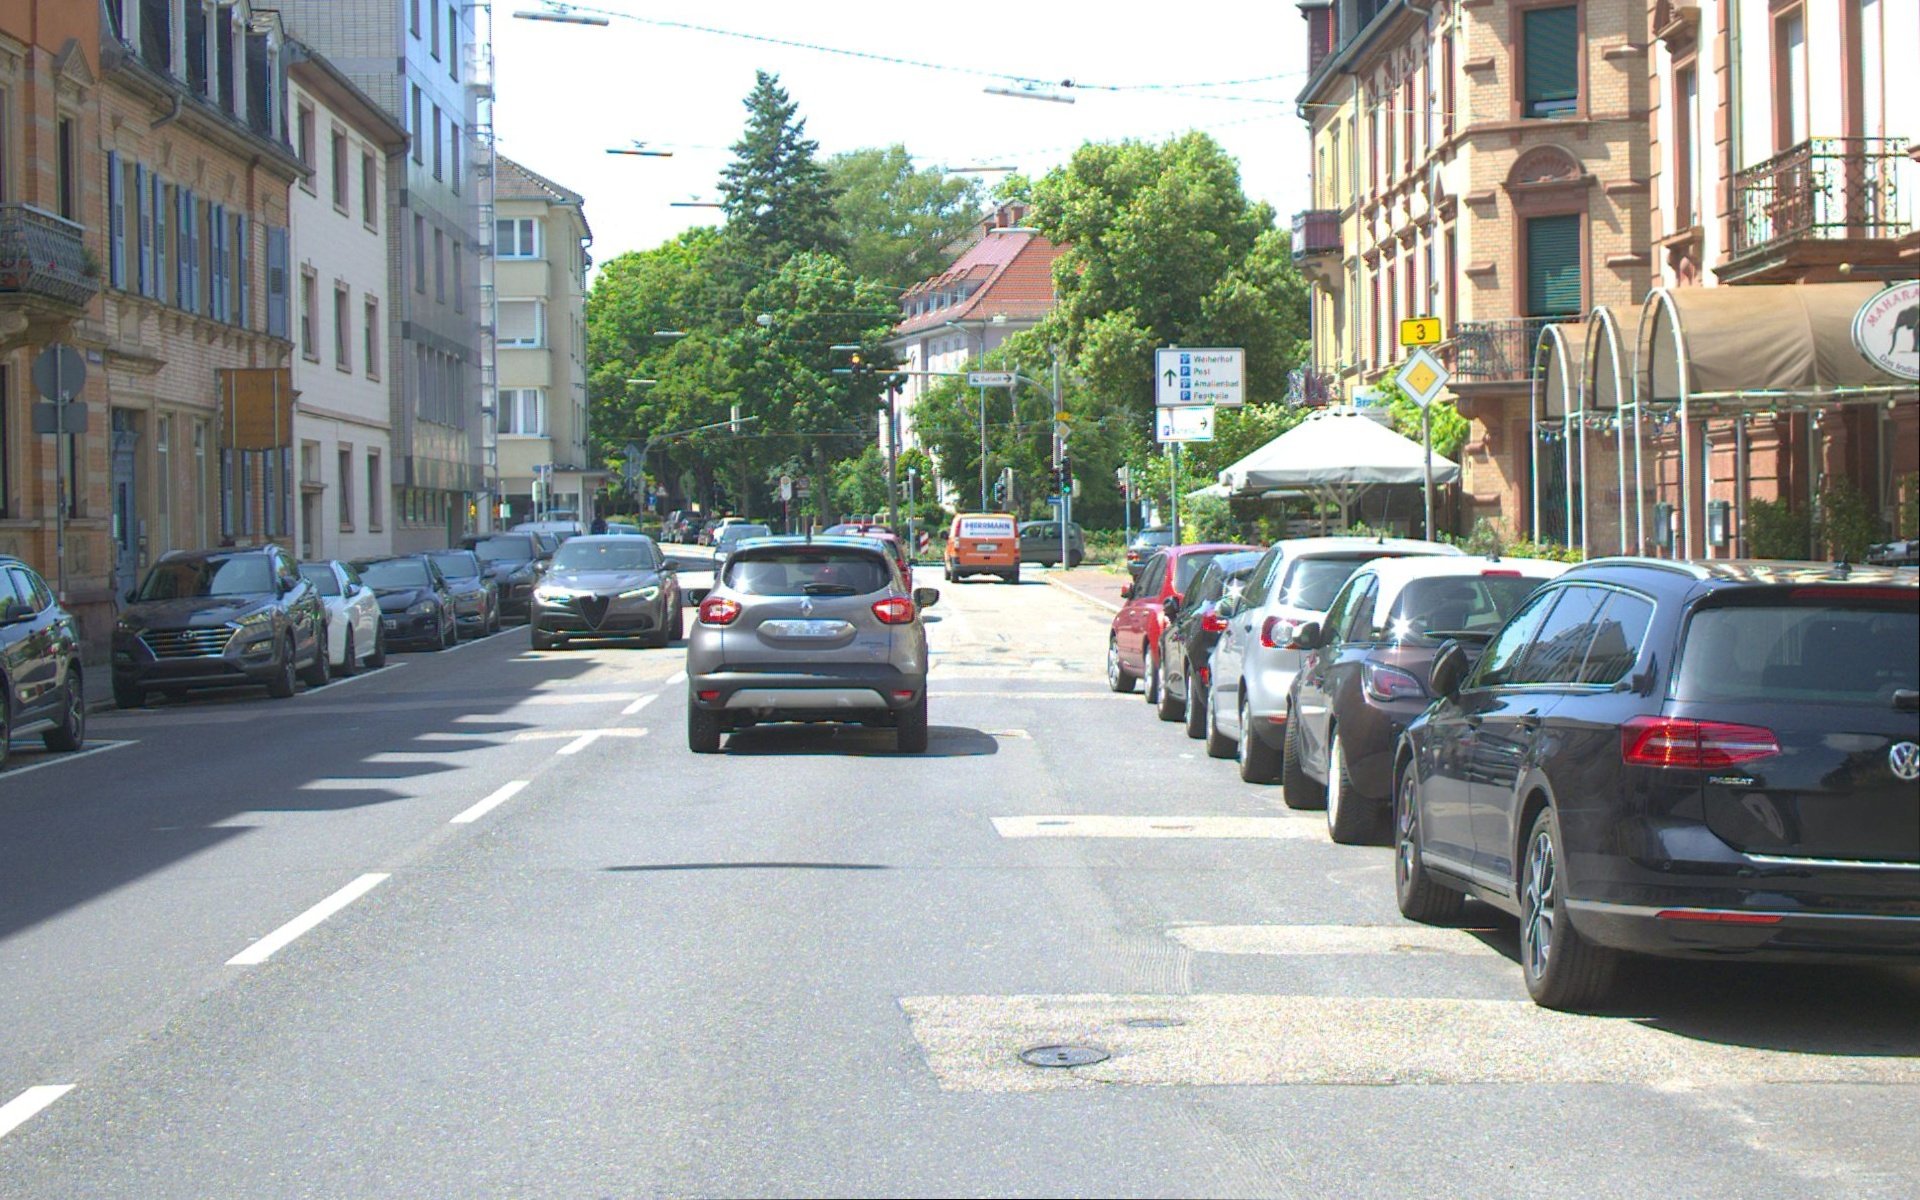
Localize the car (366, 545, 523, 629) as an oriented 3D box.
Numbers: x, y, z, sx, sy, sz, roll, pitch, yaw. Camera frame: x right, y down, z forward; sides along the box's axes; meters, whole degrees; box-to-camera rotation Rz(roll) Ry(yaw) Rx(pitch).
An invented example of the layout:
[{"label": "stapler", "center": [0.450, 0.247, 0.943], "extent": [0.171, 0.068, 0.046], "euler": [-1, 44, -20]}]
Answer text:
[{"label": "car", "center": [-8.489, -0.237, 56.980], "extent": [1.904, 1.287, 4.302], "euler": [-1, 1, 0]}]

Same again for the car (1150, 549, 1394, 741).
[{"label": "car", "center": [2.472, 0.316, 27.940], "extent": [1.611, 1.456, 3.505], "euler": [0, 1, -1]}]

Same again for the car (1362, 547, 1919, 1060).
[{"label": "car", "center": [2.736, 0.567, 12.327], "extent": [1.860, 1.460, 4.619], "euler": [1, 1, -2]}]

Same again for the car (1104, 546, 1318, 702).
[{"label": "car", "center": [2.406, 0.199, 33.648], "extent": [1.611, 1.438, 3.437], "euler": [0, 1, -4]}]

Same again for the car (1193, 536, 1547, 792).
[{"label": "car", "center": [2.678, 0.363, 23.312], "extent": [1.860, 1.548, 4.000], "euler": [1, 1, 0]}]

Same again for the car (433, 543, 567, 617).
[{"label": "car", "center": [-8.481, -0.391, 63.680], "extent": [1.904, 1.287, 4.303], "euler": [-1, 1, 0]}]

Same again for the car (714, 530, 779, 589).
[{"label": "car", "center": [-6.007, -1.154, 97.061], "extent": [1.790, 1.620, 3.744], "euler": [-1, 1, -3]}]

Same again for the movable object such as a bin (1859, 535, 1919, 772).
[{"label": "movable object such as a bin", "center": [6.140, 0.308, 20.849], "extent": [1.043, 1.397, 1.254], "euler": [1, 1, 1]}]

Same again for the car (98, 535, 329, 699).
[{"label": "car", "center": [-8.133, 0.144, 37.801], "extent": [1.904, 1.614, 4.303], "euler": [-3, 1, -5]}]

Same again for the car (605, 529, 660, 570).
[{"label": "car", "center": [-13.203, -2.060, 138.789], "extent": [1.790, 1.620, 3.743], "euler": [0, 1, 1]}]

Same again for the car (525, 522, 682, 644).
[{"label": "car", "center": [-5.134, -0.285, 49.978], "extent": [1.939, 1.620, 4.001], "euler": [-2, 1, -2]}]

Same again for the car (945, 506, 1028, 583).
[{"label": "car", "center": [0.703, -1.540, 94.465], "extent": [1.993, 2.007, 4.467], "euler": [-1, 1, -3]}]

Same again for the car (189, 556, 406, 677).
[{"label": "car", "center": [-8.311, 0.172, 43.462], "extent": [1.904, 1.352, 4.303], "euler": [-3, 1, -1]}]

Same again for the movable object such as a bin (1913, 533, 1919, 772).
[{"label": "movable object such as a bin", "center": [6.128, 0.321, 19.592], "extent": [1.043, 1.397, 1.254], "euler": [1, 1, 1]}]

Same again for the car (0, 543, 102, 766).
[{"label": "car", "center": [-7.984, 0.422, 26.197], "extent": [1.904, 1.614, 4.303], "euler": [-3, 1, -2]}]

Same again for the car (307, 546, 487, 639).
[{"label": "car", "center": [-8.376, -0.146, 51.454], "extent": [1.905, 1.287, 4.302], "euler": [-1, 1, 1]}]

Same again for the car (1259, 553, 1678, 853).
[{"label": "car", "center": [2.687, 0.485, 18.994], "extent": [1.660, 1.436, 4.000], "euler": [1, 1, -1]}]

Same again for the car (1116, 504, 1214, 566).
[{"label": "car", "center": [5.277, -1.675, 88.053], "extent": [1.899, 1.503, 3.941], "euler": [-1, 1, 12]}]

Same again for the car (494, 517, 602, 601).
[{"label": "car", "center": [-9.297, -0.950, 77.854], "extent": [1.904, 1.815, 4.303], "euler": [-1, 1, 0]}]

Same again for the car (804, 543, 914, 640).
[{"label": "car", "center": [-1.860, -0.178, 62.164], "extent": [1.812, 1.615, 4.442], "euler": [-2, 1, -3]}]

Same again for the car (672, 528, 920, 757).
[{"label": "car", "center": [-1.215, 0.259, 26.239], "extent": [1.744, 1.611, 4.000], "euler": [0, 1, -2]}]
